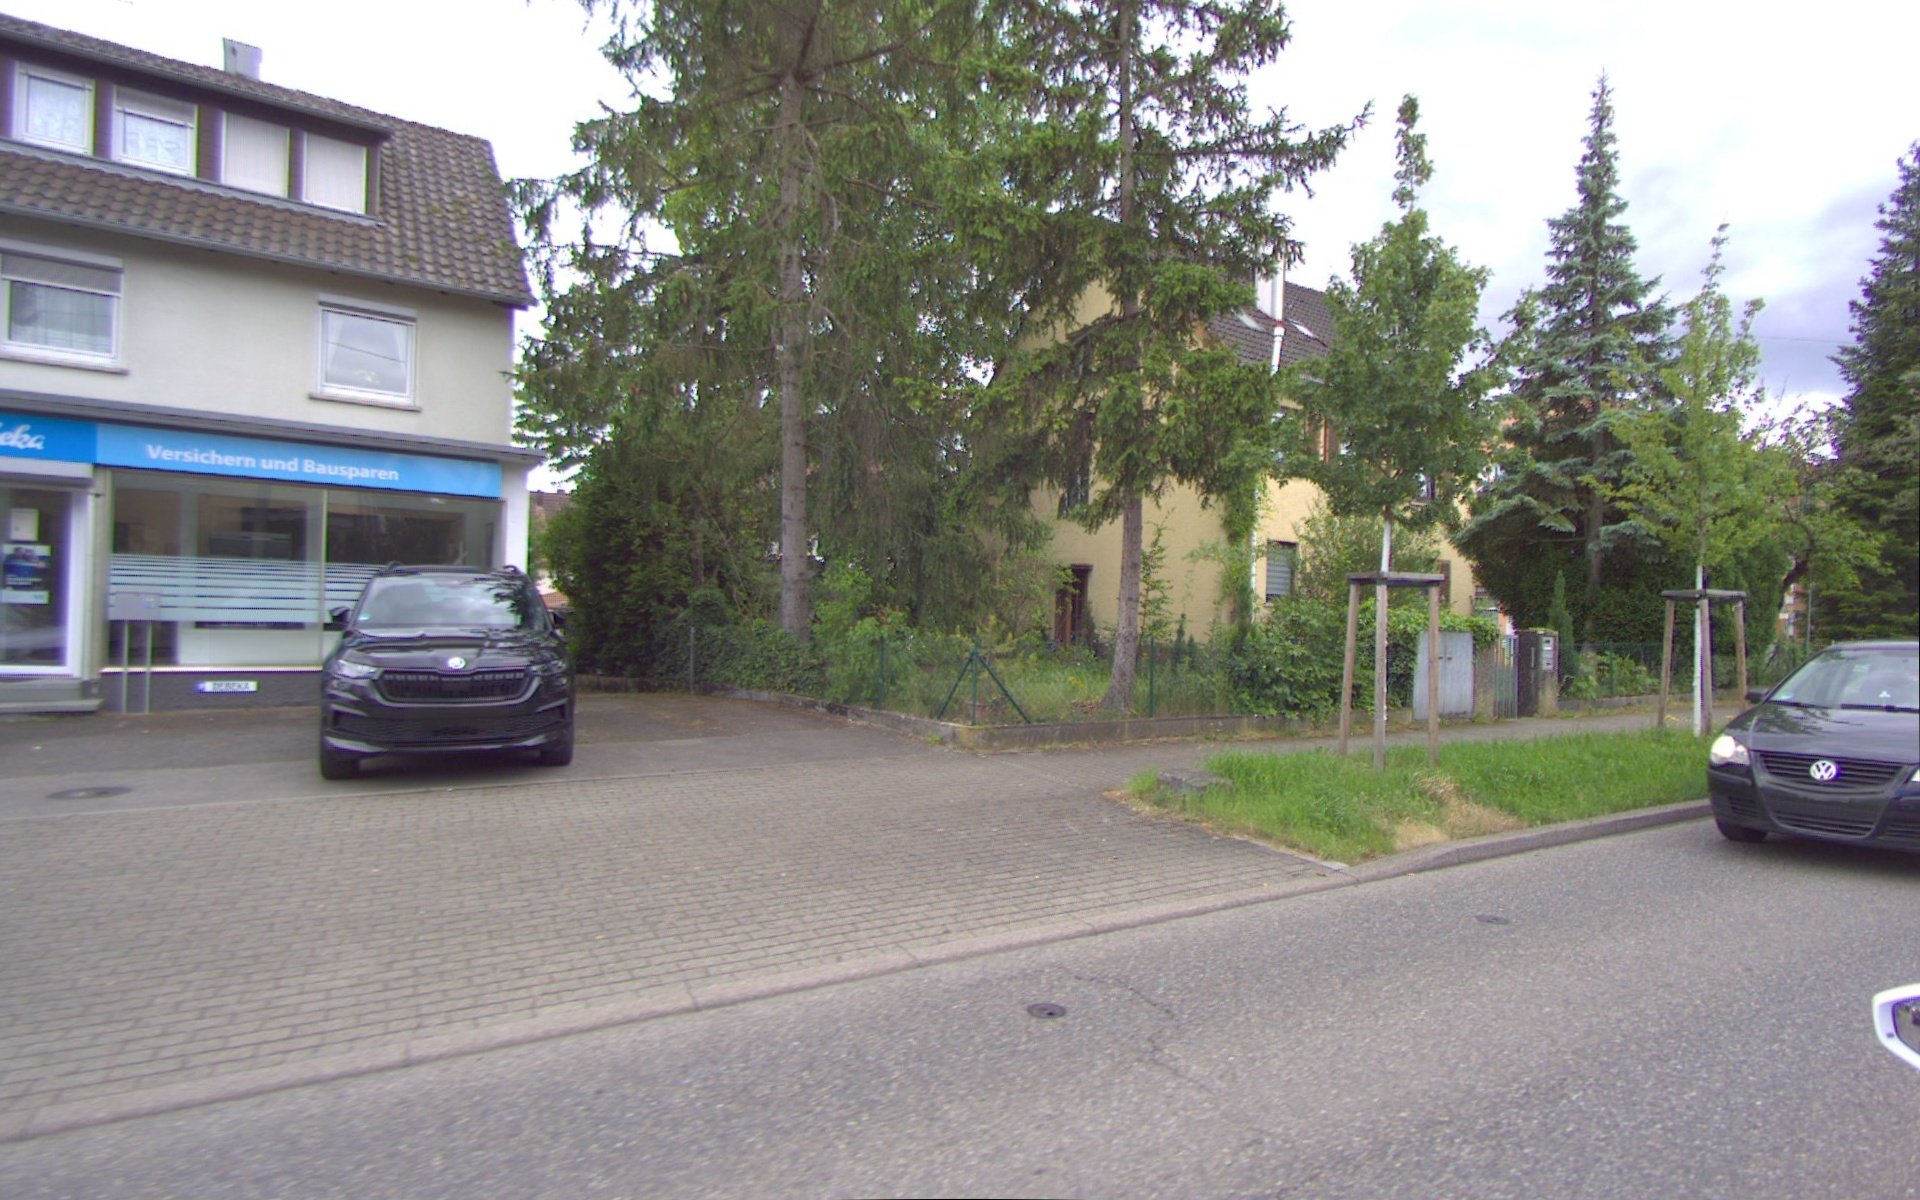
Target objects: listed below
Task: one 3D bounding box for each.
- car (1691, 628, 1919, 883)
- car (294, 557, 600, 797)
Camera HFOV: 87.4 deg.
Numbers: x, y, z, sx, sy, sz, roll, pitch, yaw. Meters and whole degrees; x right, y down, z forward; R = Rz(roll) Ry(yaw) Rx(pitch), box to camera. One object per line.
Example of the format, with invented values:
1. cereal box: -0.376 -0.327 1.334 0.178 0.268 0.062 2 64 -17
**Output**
1. car: 6.875 0.950 7.142 3.432 1.491 1.566 1 -2 -32
2. car: -4.620 0.508 9.229 1.948 1.639 4.317 2 0 -27
